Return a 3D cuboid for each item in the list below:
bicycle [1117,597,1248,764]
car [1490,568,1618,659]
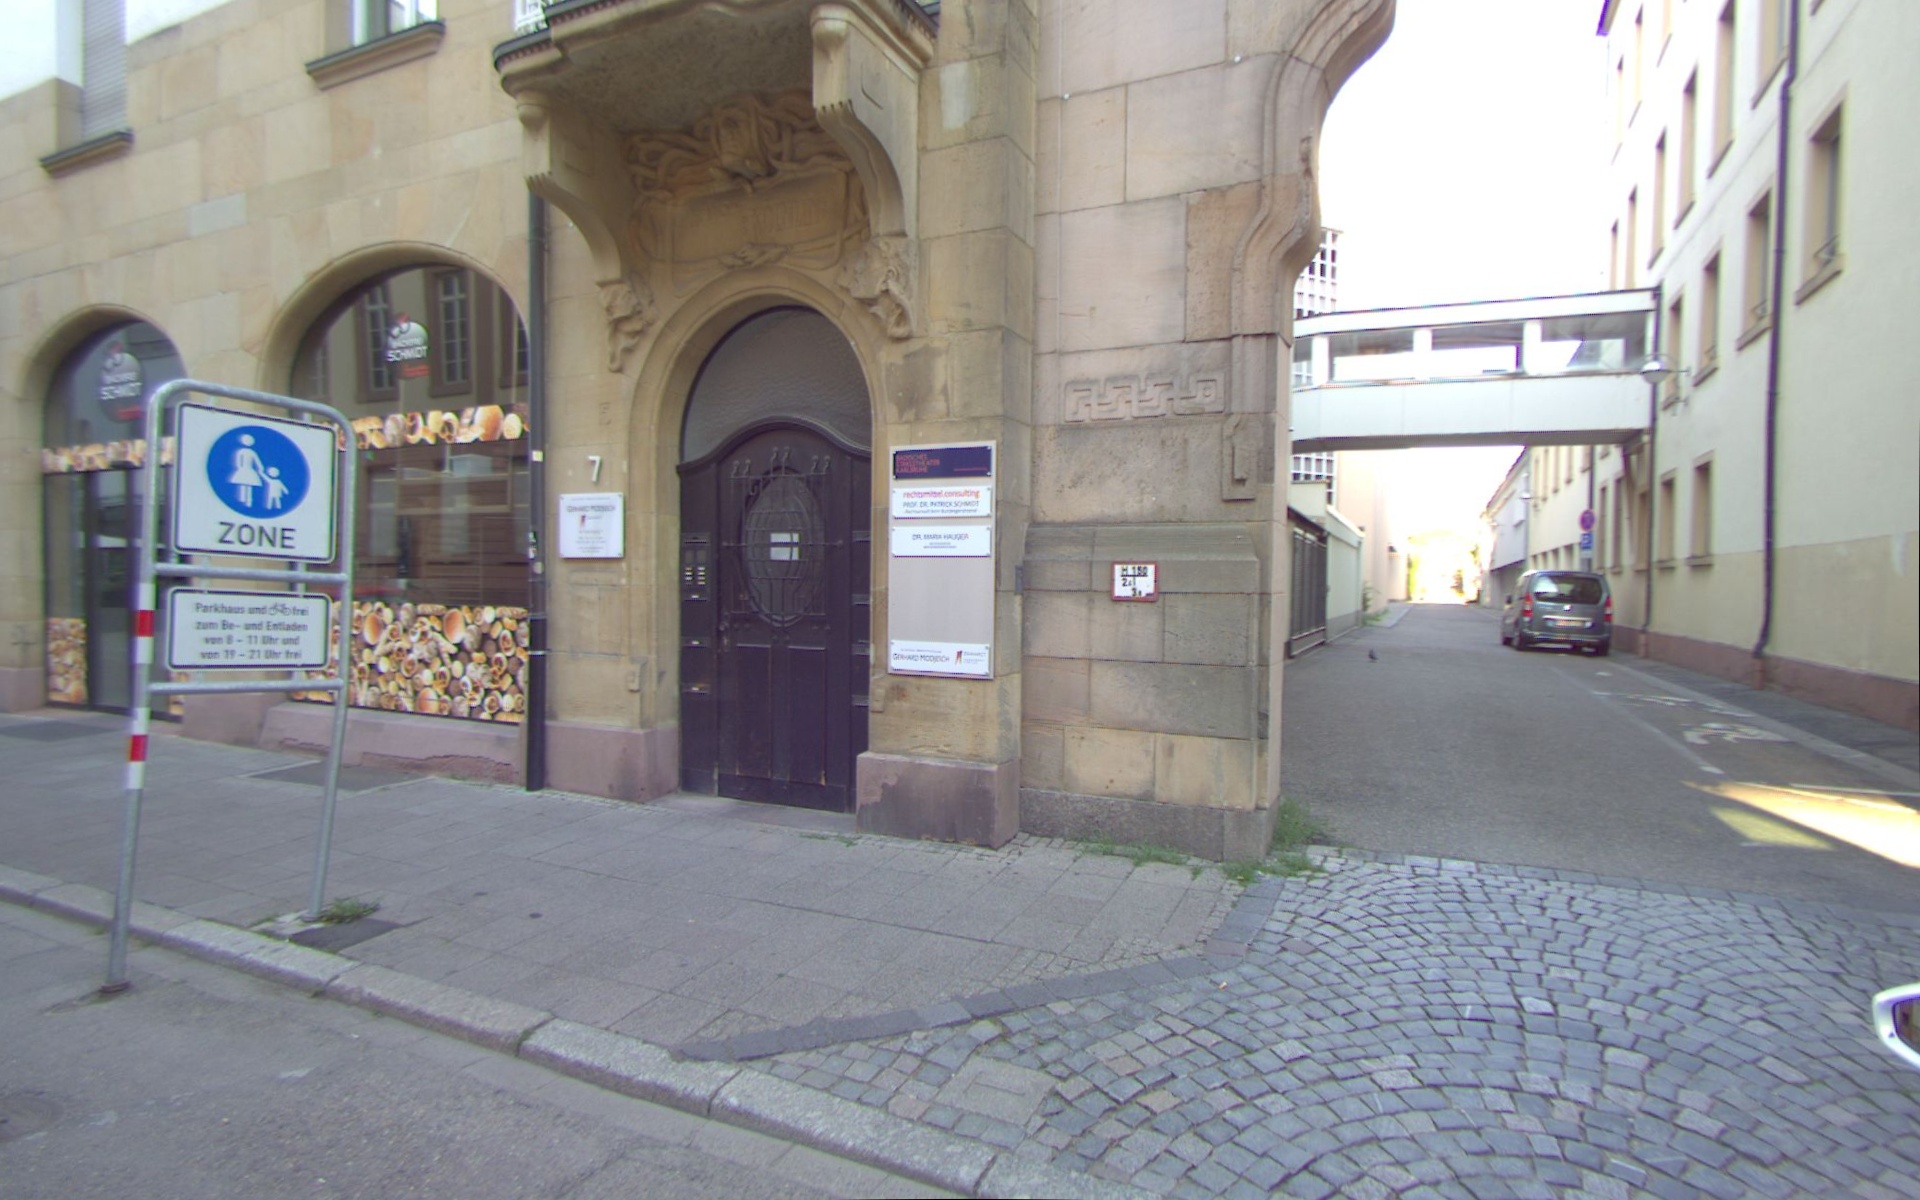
[{"bbox_3d":[1.721,0.529,7.580,0.586,1.094,1.754,1,1,25],"label":"bicycle"},{"bbox_3d":[13.579,0.274,23.208,1.825,1.779,4.160,5,2,22],"label":"car"}]
